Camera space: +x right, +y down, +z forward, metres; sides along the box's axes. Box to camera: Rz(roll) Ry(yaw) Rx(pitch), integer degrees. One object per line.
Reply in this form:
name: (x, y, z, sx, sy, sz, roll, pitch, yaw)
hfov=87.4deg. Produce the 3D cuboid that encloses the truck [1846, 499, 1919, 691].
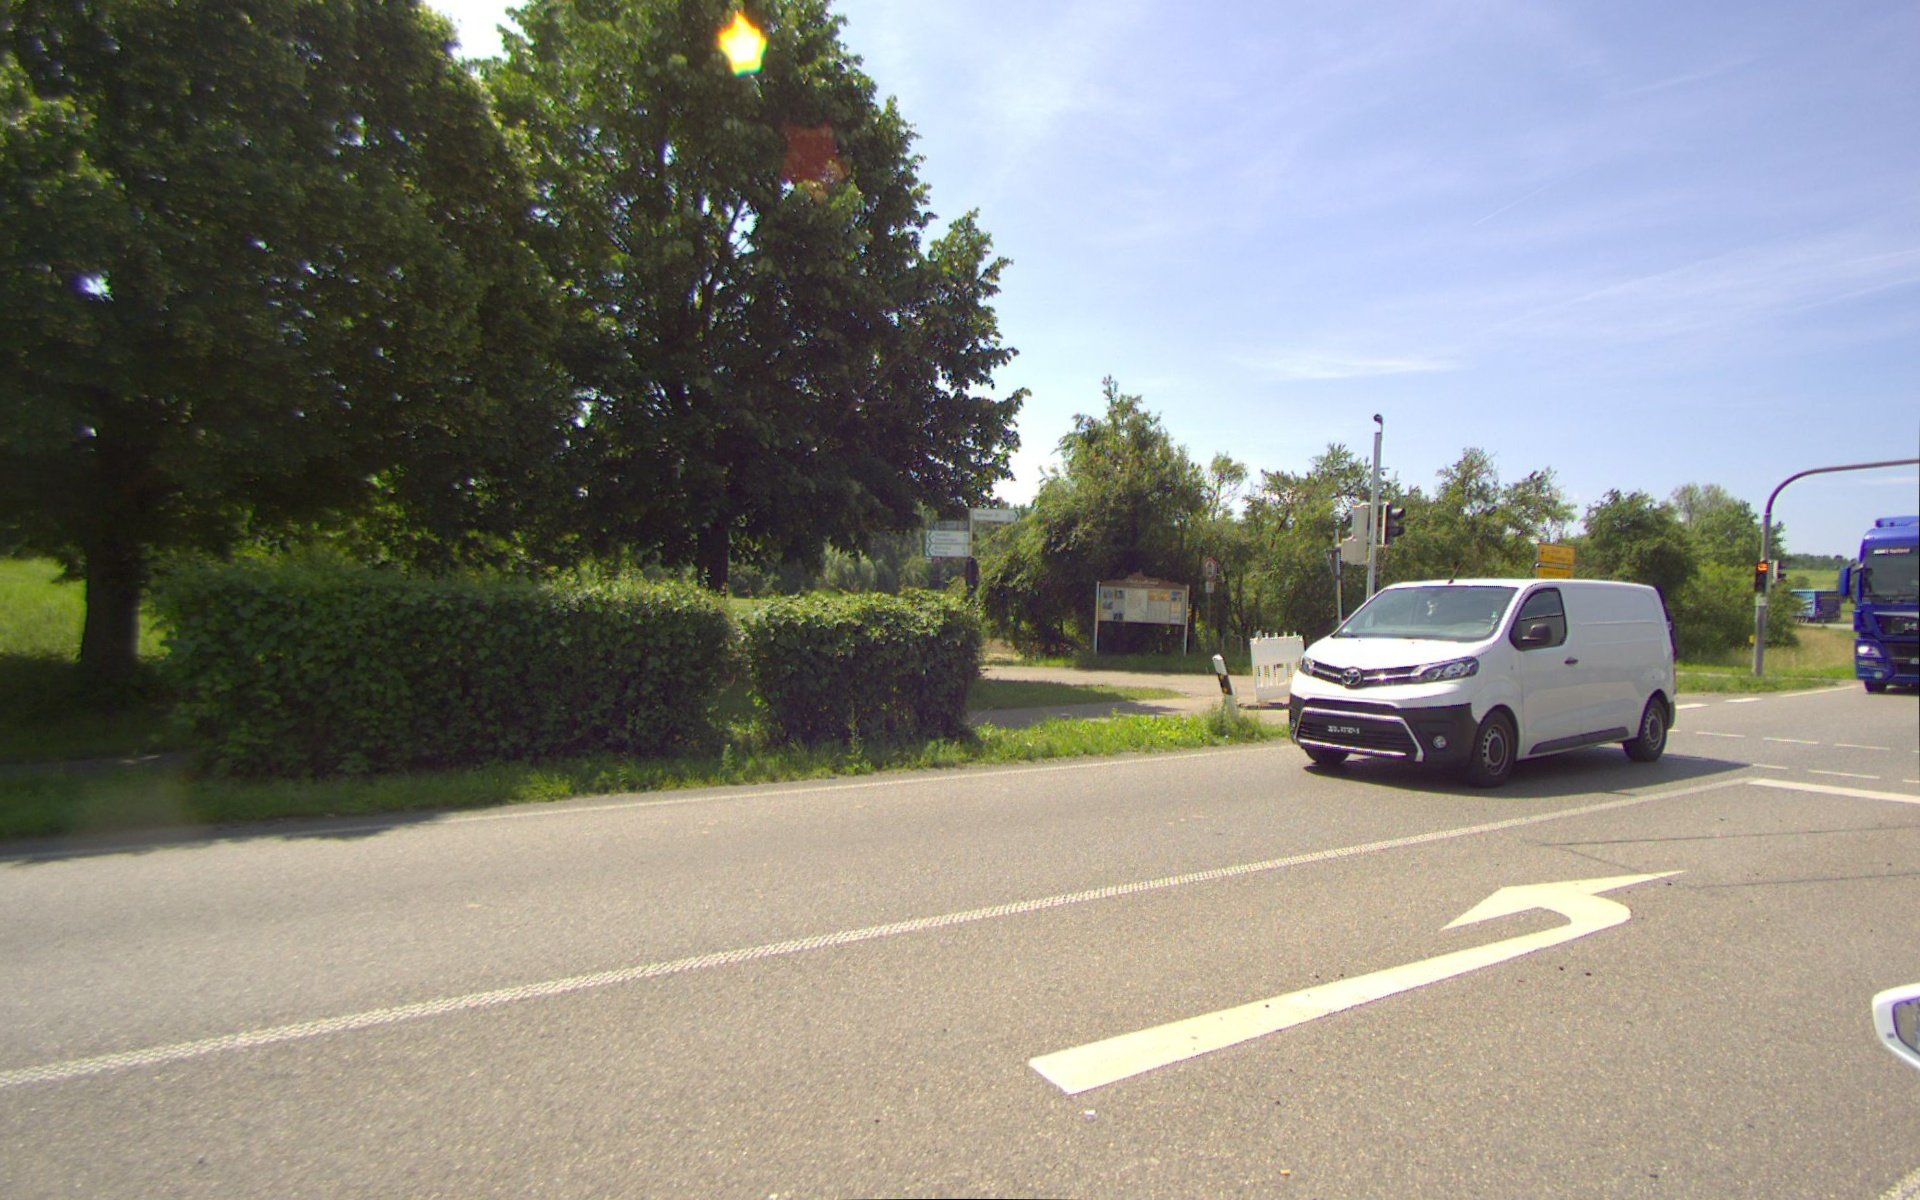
truck: (22.857, -0.071, 23.302, 6.506, 4.083, 2.545, 1, -1, -40)

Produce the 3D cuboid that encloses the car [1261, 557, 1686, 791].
car: (5.447, 0.669, 10.374, 4.902, 1.911, 1.858, 2, -1, -35)

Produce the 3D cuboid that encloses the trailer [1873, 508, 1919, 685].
trailer: (27.547, -0.009, 27.382, 13.490, 4.083, 2.544, 1, -1, -42)

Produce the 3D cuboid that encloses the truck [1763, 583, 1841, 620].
truck: (108.505, 0.263, 129.753, 3.472, 4.296, 13.403, 2, -1, 22)
